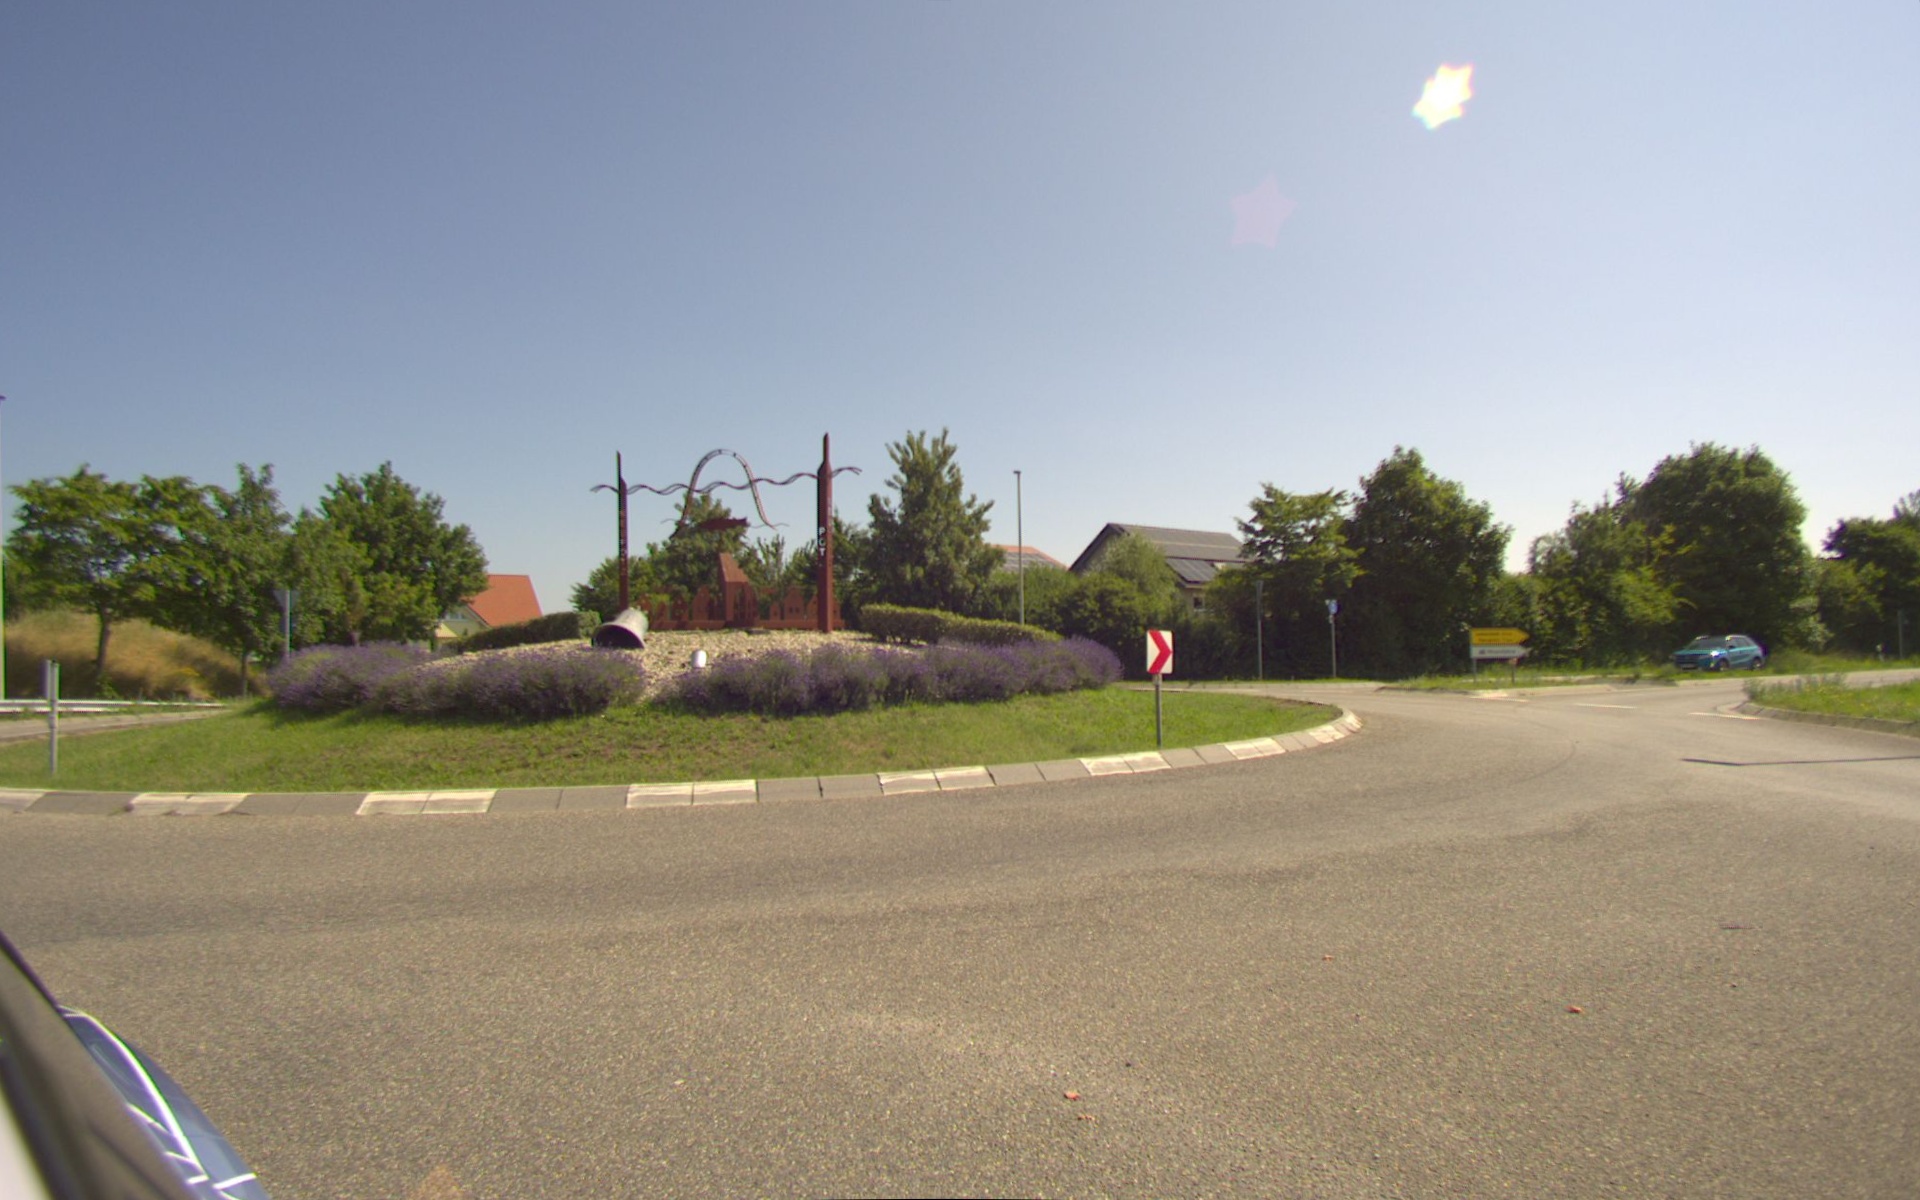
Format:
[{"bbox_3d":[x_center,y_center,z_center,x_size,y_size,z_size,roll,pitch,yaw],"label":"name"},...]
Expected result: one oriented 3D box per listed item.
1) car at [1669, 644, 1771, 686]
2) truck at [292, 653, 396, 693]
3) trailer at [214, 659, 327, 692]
[{"bbox_3d":[30.283,2.563,40.322,3.931,1.588,1.654,1,-3,-28],"label":"car"},{"bbox_3d":[-43.655,5.161,71.726,7.642,2.670,2.500,-2,-3,25],"label":"truck"},{"bbox_3d":[-51.678,5.652,75.728,10.431,2.295,1.983,-2,-3,25],"label":"trailer"}]
